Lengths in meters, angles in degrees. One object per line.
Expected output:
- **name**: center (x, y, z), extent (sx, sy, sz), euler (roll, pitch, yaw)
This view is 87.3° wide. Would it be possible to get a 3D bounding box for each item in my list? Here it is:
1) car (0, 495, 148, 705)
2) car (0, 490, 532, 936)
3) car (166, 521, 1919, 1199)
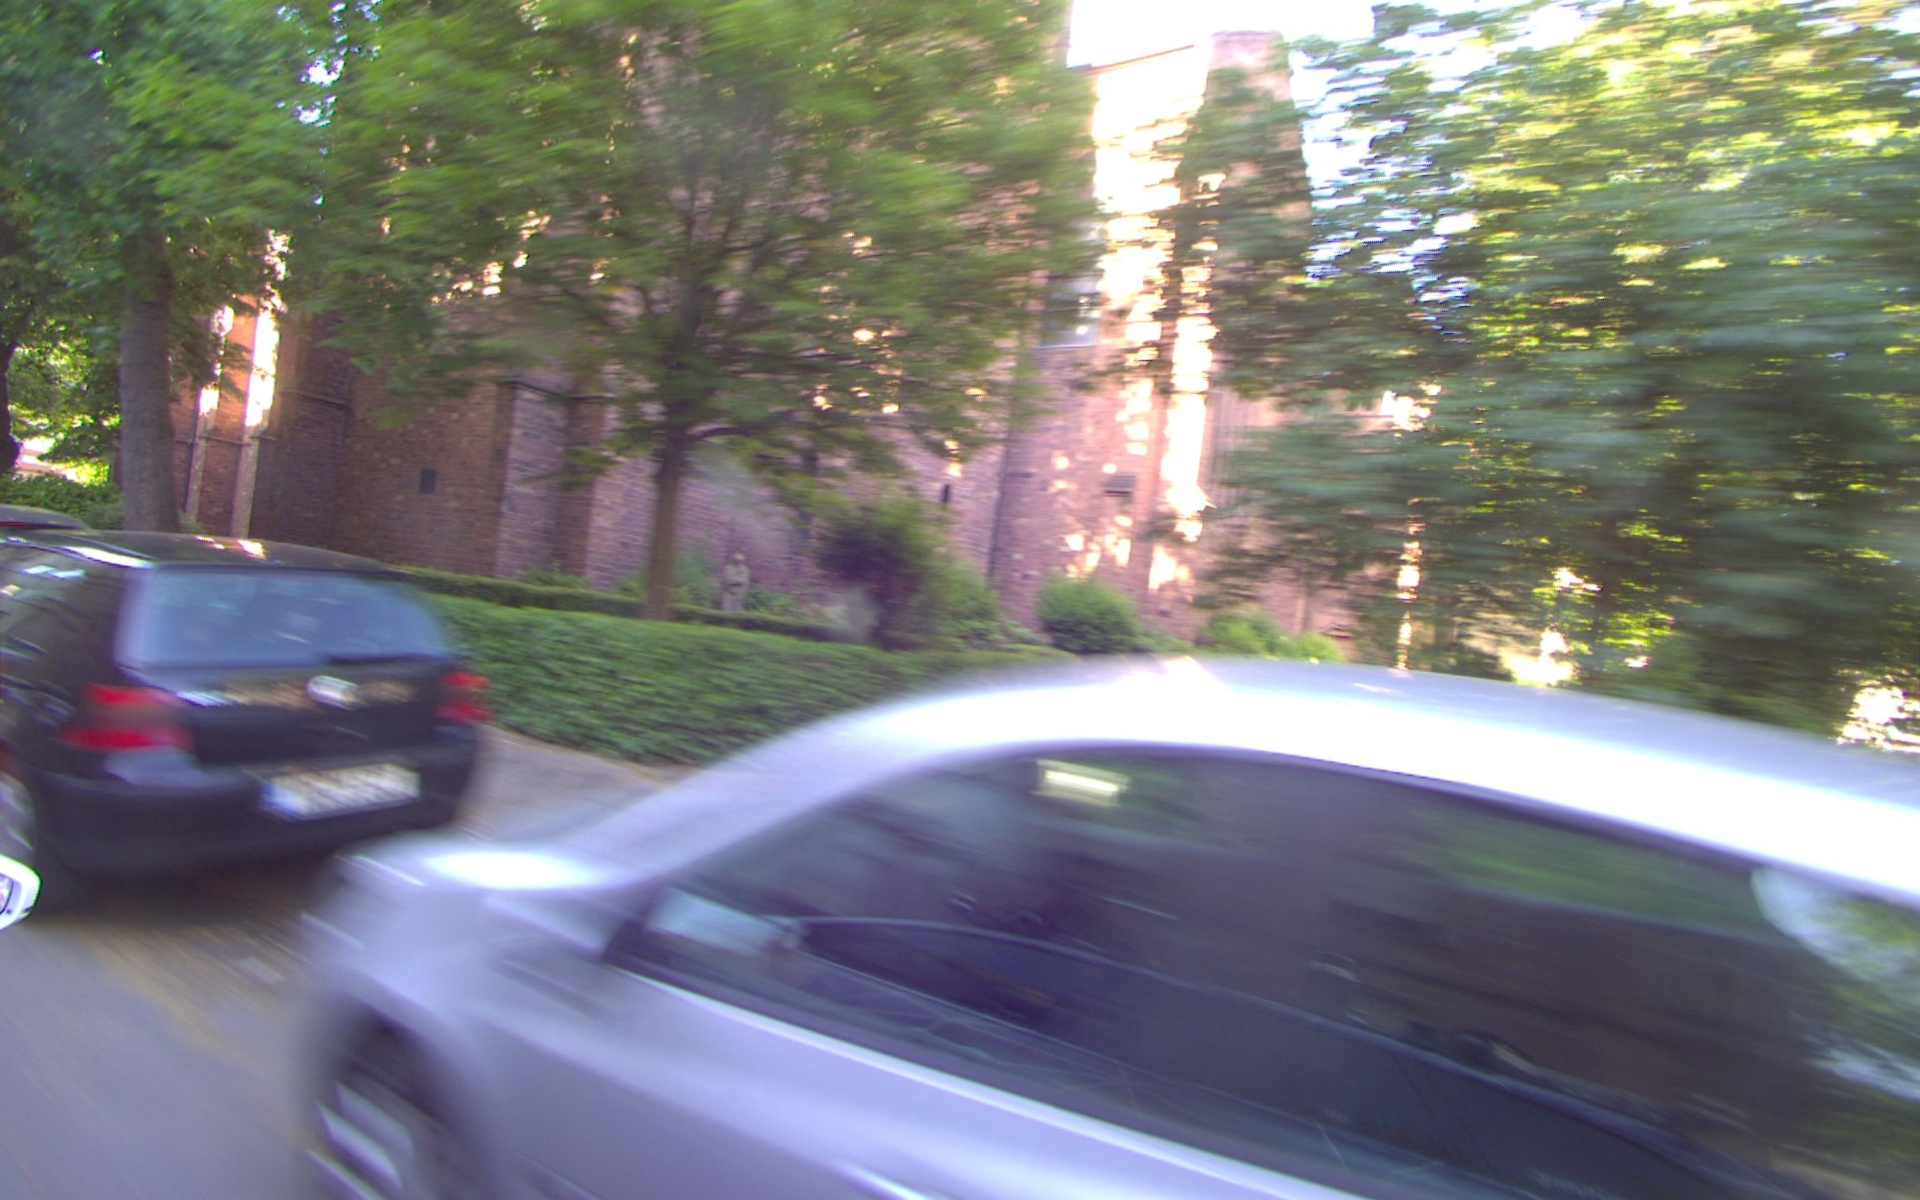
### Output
- **car**: center (-8.615, -0.133, 8.513), extent (3.997, 1.541, 1.662), euler (5, 3, 35)
- **car**: center (-4.129, 0.290, 5.041), extent (3.938, 1.454, 1.623), euler (5, 0, 32)
- **car**: center (0.227, 0.771, 2.084), extent (3.769, 1.539, 1.710), euler (5, 0, 32)
